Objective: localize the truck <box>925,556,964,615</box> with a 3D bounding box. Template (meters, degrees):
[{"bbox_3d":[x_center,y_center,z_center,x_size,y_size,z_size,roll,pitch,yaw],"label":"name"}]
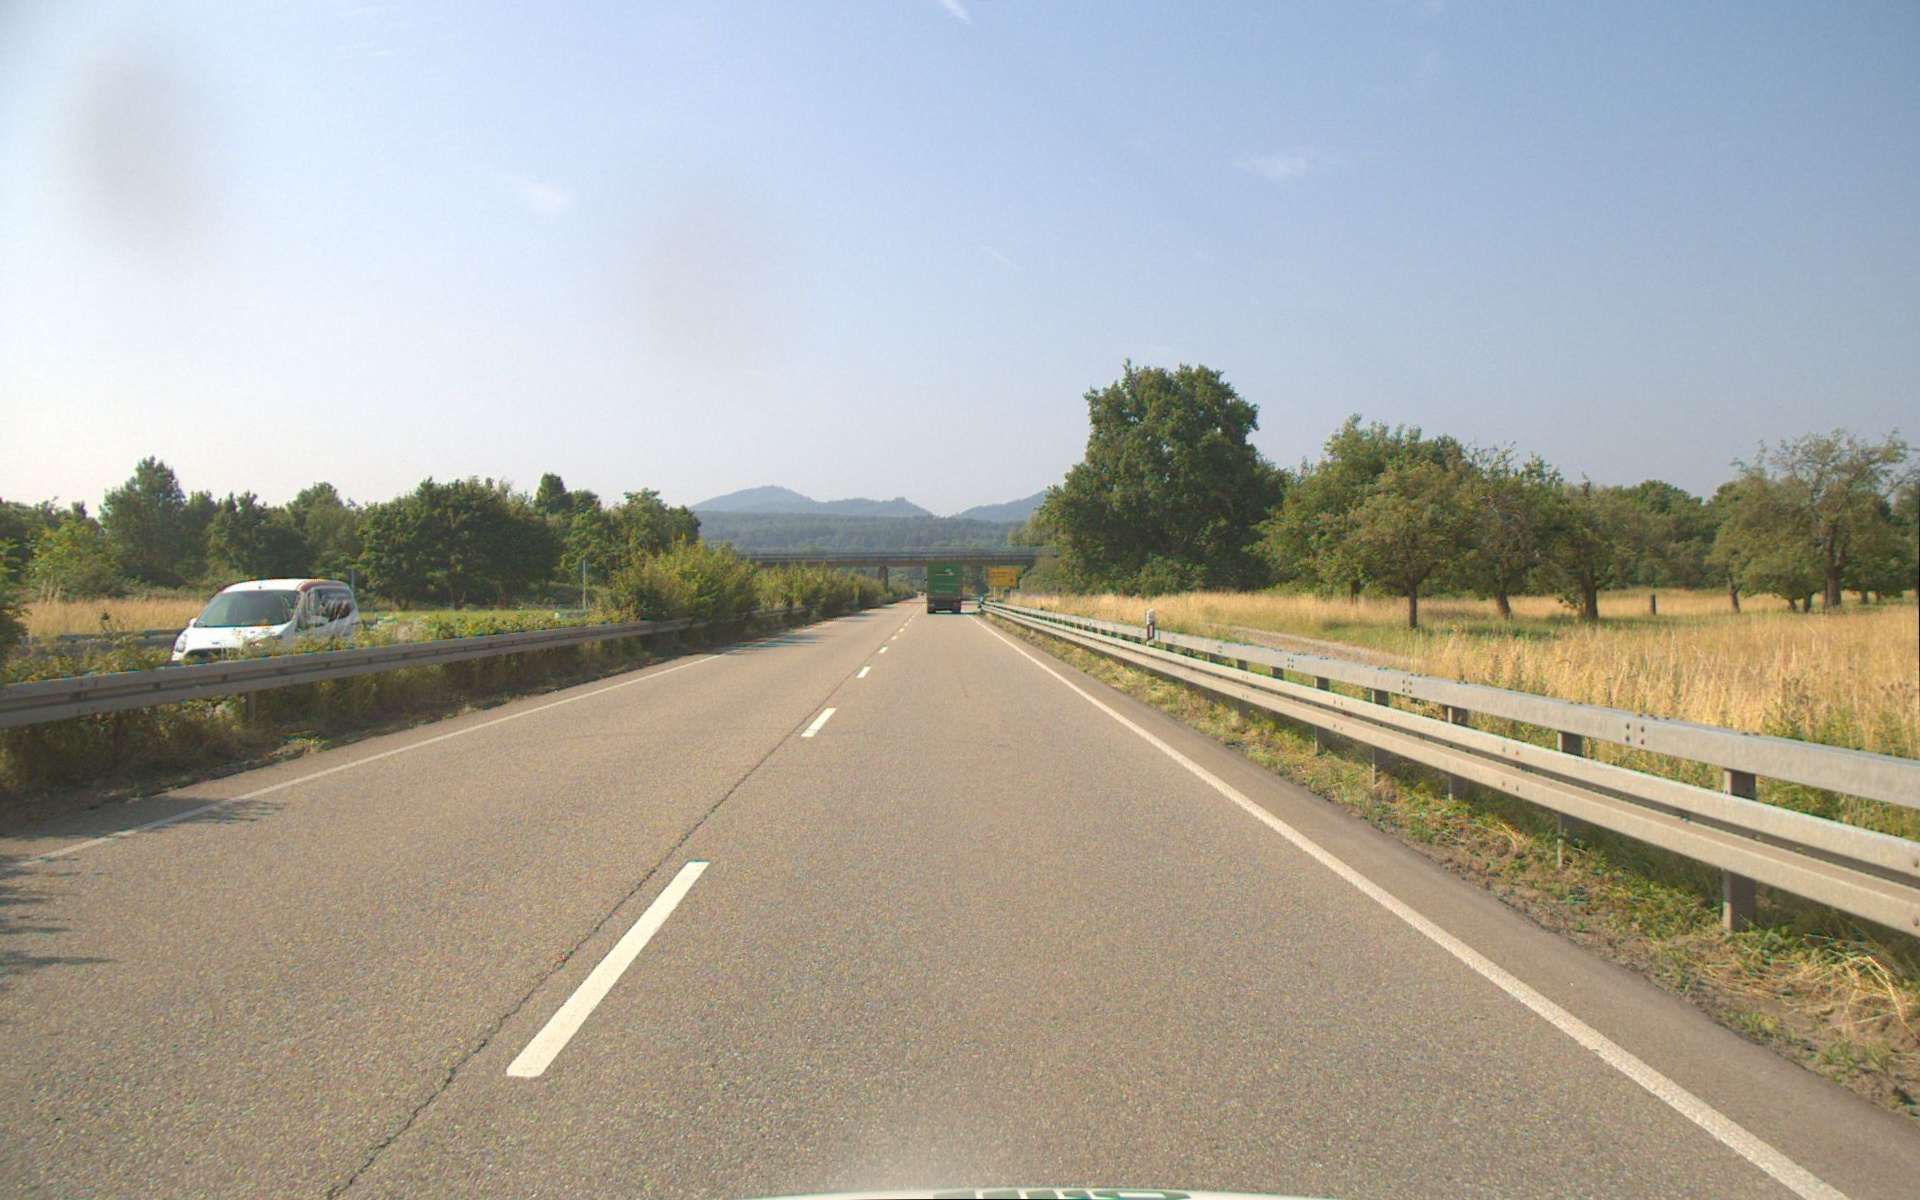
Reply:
[{"bbox_3d":[-1.140,-1.133,120.456,2.667,4.034,10.416,1,2,-1],"label":"truck"}]

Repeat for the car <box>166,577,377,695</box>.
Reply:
[{"bbox_3d":[-10.518,0.491,25.565,1.626,1.670,3.999,0,1,-1],"label":"car"}]
